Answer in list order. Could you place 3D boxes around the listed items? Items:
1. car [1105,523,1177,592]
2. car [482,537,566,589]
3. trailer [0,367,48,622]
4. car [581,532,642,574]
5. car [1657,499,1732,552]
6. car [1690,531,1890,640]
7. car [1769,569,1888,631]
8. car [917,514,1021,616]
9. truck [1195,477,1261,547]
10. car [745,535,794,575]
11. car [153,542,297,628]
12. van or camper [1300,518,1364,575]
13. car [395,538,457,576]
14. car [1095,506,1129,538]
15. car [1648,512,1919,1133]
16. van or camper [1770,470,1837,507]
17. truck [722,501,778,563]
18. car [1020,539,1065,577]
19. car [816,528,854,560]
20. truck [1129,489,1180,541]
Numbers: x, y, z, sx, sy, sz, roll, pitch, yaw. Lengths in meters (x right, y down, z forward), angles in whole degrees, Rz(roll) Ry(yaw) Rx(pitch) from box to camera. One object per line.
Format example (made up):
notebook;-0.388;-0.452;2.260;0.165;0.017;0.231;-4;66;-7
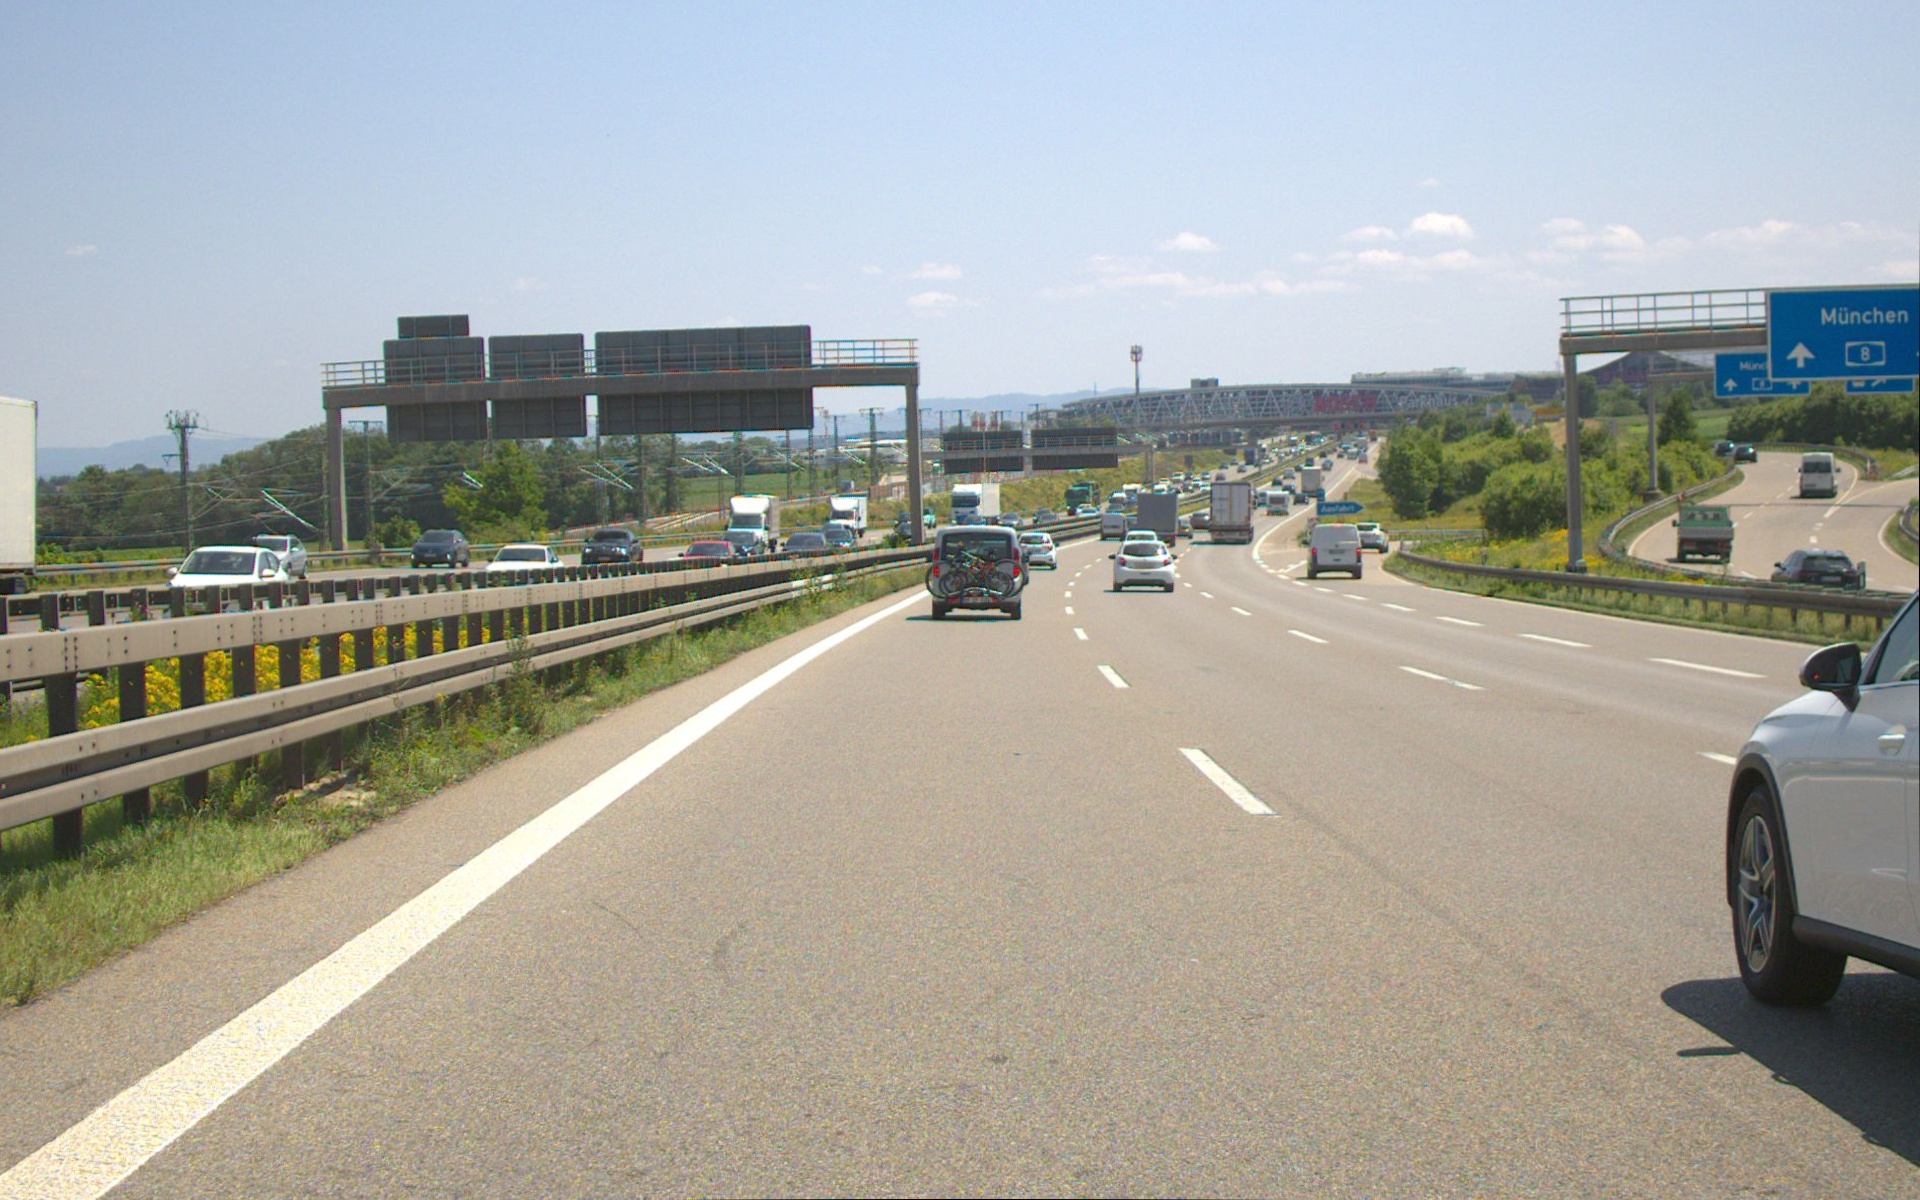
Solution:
car;5.177;-1.227;98.678;1.926;1.912;4.518;0;1;1
car;-12.202;-1.060;96.474;1.657;1.398;4.759;1;1;1
trailer;-17.483;-1.699;53.787;3.035;4.226;12.249;0;1;1
car;-13.974;-1.904;138.157;1.847;1.650;4.910;1;1;1
car;28.162;-2.847;131.938;1.993;2.007;4.000;0;1;0
car;13.392;-0.251;55.705;1.993;1.684;4.001;0;1;-4
car;23.110;-0.009;91.629;1.993;1.590;4.000;0;1;-3
car;0.213;-0.696;67.743;1.927;1.912;4.948;0;1;2
truck;17.687;-5.853;226.301;4.040;4.247;11.756;0;3;6
car;-7.802;-1.843;141.252;1.675;1.609;4.362;0;1;1
car;-13.276;-0.300;62.292;1.741;1.483;4.008;0;1;0
van or camper;13.497;-1.929;124.907;2.156;2.007;4.304;0;1;5
car;-22.237;-1.801;143.244;1.847;1.526;4.223;1;1;1
car;10.487;-5.363;237.166;2.186;1.996;4.000;0;4;4
car;3.473;0.582;9.844;1.898;1.641;4.999;0;1;-1
van or camper;48.572;-6.416;198.033;2.528;2.007;4.461;0;1;-4
truck;-11.353;-3.668;186.447;2.376;3.266;7.661;0;1;1
car;3.370;-1.709;140.056;1.576;1.547;3.963;0;1;5
car;-6.508;-2.910;179.426;1.748;1.619;4.831;0;1;1
truck;12.036;-5.206;211.786;2.703;3.098;10.657;0;1;6
